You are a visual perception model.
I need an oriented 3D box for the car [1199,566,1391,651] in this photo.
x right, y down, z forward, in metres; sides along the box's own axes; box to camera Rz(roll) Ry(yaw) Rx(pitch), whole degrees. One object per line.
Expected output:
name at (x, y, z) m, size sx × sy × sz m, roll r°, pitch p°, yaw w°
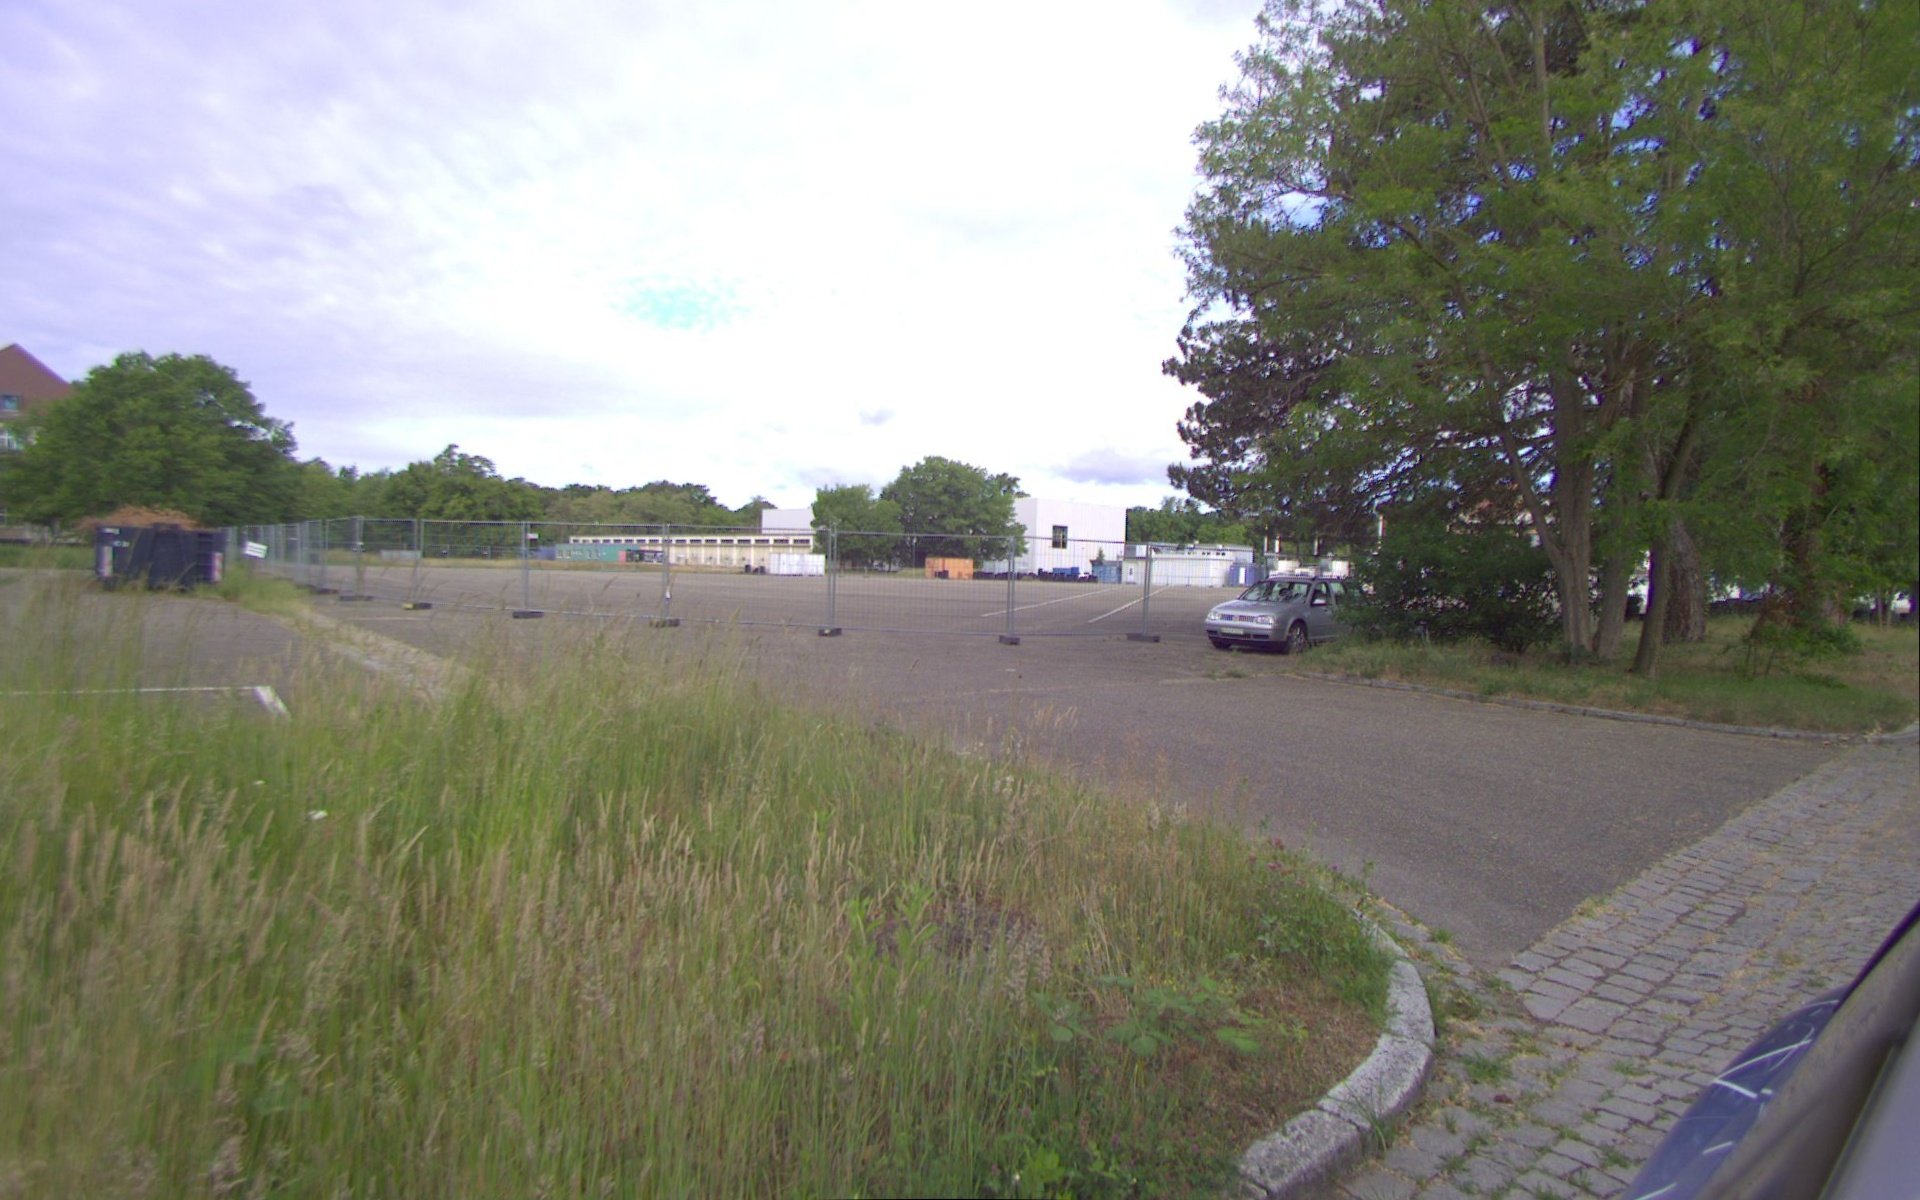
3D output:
car at (6.649, 0.110, 19.816) m, size 4.415 × 1.468 × 1.676 m, roll 0°, pitch 2°, yaw -44°
